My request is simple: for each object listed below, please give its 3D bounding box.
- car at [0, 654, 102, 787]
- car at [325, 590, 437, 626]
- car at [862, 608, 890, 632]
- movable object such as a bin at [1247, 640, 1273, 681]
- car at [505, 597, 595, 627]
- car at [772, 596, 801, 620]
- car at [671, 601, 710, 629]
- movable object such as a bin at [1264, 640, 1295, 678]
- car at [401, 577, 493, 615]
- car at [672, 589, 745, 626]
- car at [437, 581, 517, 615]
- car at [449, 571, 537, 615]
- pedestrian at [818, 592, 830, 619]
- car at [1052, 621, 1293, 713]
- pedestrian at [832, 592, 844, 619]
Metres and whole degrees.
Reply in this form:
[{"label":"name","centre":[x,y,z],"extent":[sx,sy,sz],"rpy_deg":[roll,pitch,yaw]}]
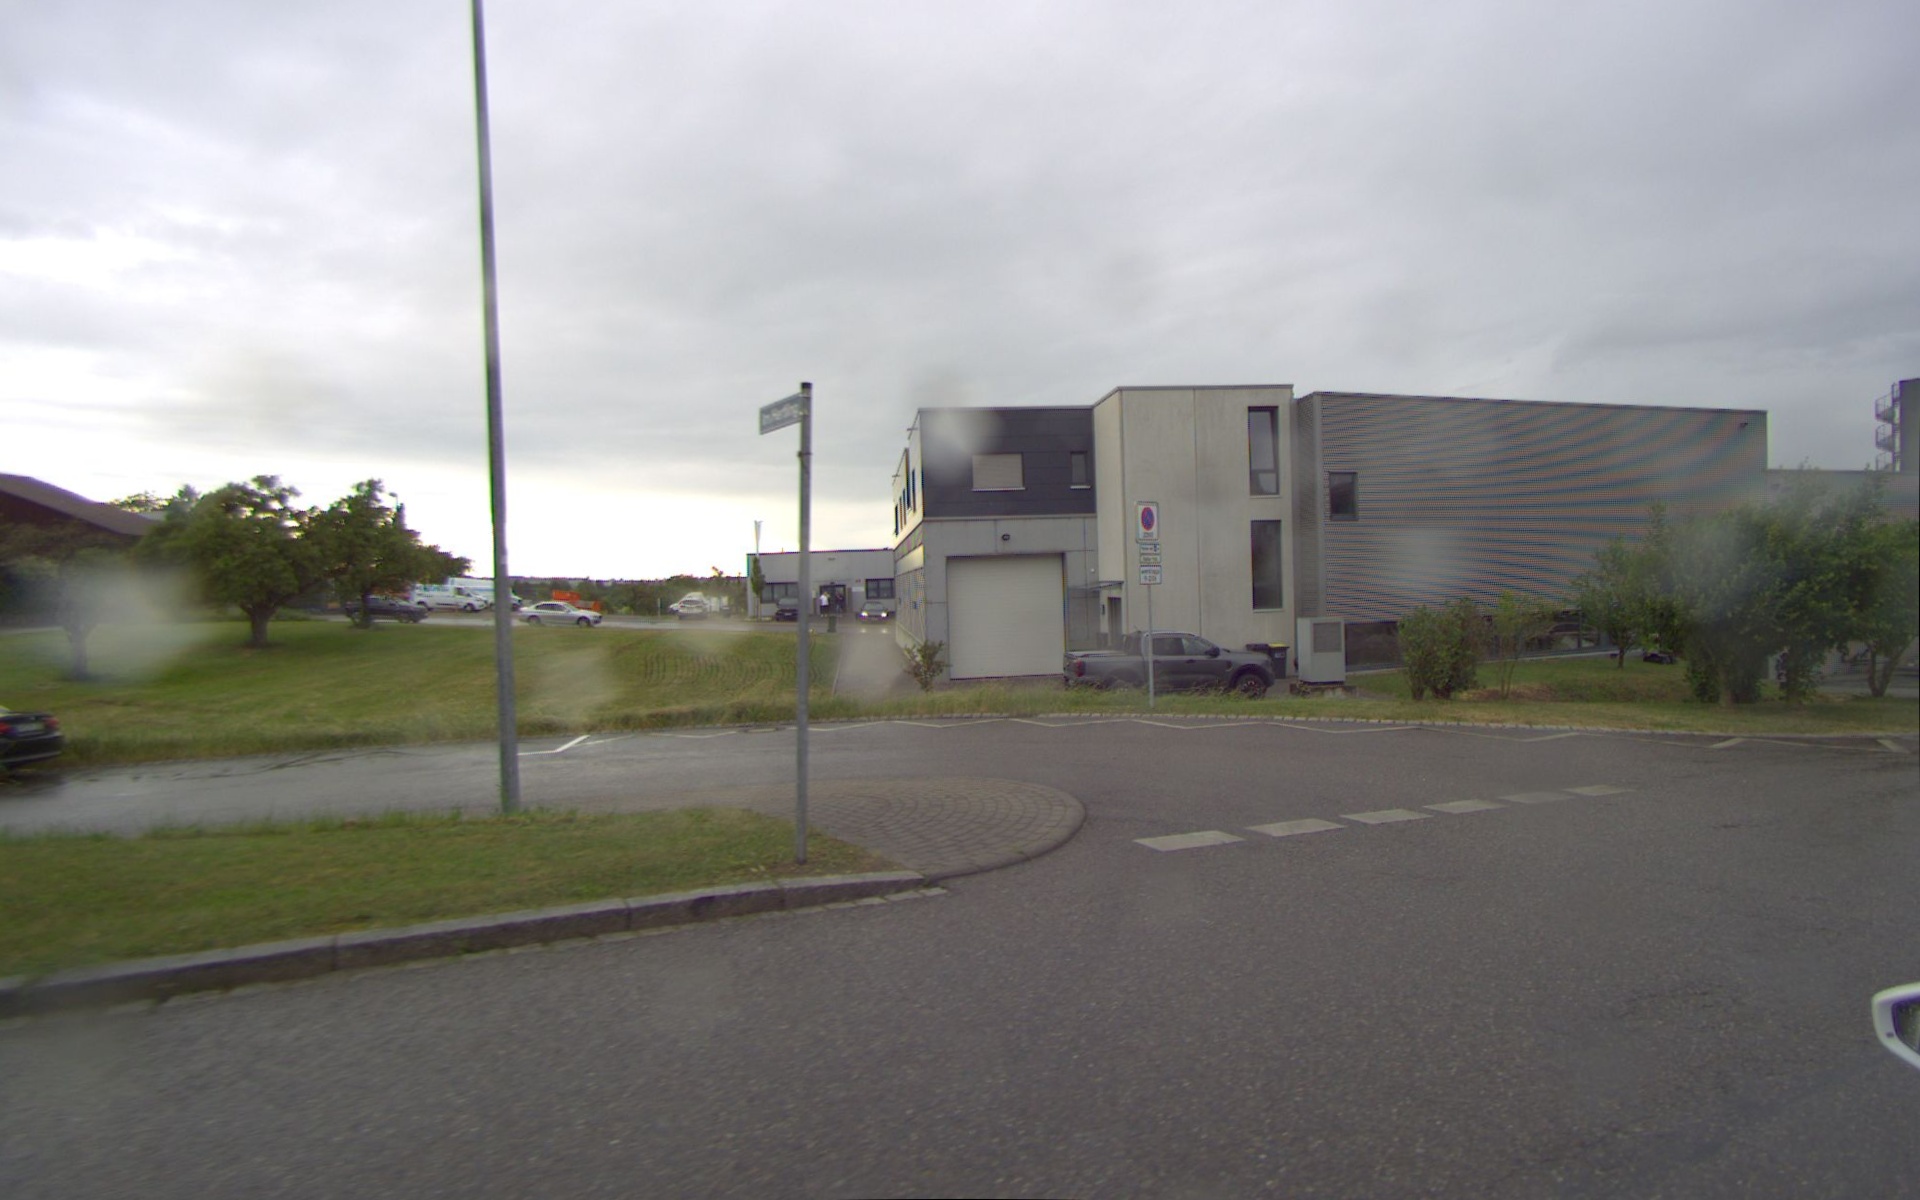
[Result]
[{"label":"car","centre":[-15.437,1.842,14.351],"extent":[4.307,1.776,1.996],"rpy_deg":[-4,-1,-12]},{"label":"car","centre":[-34.888,0.488,60.670],"extent":[5.320,2.000,2.289],"rpy_deg":[1,-2,-6]},{"label":"car","centre":[-6.090,1.439,73.166],"extent":[1.962,1.639,3.997],"rpy_deg":[0,-1,-5]},{"label":"movable object such as a bin","centre":[8.998,1.805,30.106],"extent":[0.557,1.181,0.556],"rpy_deg":[-1,-1,-5]},{"label":"car","centre":[-24.553,0.755,60.325],"extent":[4.533,1.670,2.289],"rpy_deg":[0,-2,-6]},{"label":"car","centre":[-12.561,0.588,72.905],"extent":[1.777,1.639,3.997],"rpy_deg":[0,-1,-5]},{"label":"car","centre":[-19.254,1.026,71.976],"extent":[2.239,1.880,4.710],"rpy_deg":[0,0,-10]},{"label":"movable object such as a bin","centre":[9.606,1.780,30.220],"extent":[0.661,1.111,0.636],"rpy_deg":[-1,-1,-5]},{"label":"car","centre":[-38.107,-0.283,74.749],"extent":[5.711,2.738,1.995],"rpy_deg":[1,0,-13]},{"label":"car","centre":[-24.335,0.727,97.473],"extent":[6.603,3.470,2.543],"rpy_deg":[0,-2,-6]},{"label":"car","centre":[-38.687,-0.125,80.562],"extent":[5.336,2.603,1.996],"rpy_deg":[1,-1,-12]},{"label":"car","centre":[-38.667,-0.580,83.253],"extent":[6.182,3.474,1.998],"rpy_deg":[1,-1,-6]},{"label":"pedestrian","centre":[-10.082,0.408,74.568],"extent":[0.835,2.040,0.646],"rpy_deg":[0,0,-2]},{"label":"car","centre":[5.267,1.621,25.266],"extent":[5.506,1.947,2.133],"rpy_deg":[-2,0,-8]},{"label":"pedestrian","centre":[-9.053,0.417,74.482],"extent":[0.847,2.031,0.659],"rpy_deg":[0,0,-4]}]
